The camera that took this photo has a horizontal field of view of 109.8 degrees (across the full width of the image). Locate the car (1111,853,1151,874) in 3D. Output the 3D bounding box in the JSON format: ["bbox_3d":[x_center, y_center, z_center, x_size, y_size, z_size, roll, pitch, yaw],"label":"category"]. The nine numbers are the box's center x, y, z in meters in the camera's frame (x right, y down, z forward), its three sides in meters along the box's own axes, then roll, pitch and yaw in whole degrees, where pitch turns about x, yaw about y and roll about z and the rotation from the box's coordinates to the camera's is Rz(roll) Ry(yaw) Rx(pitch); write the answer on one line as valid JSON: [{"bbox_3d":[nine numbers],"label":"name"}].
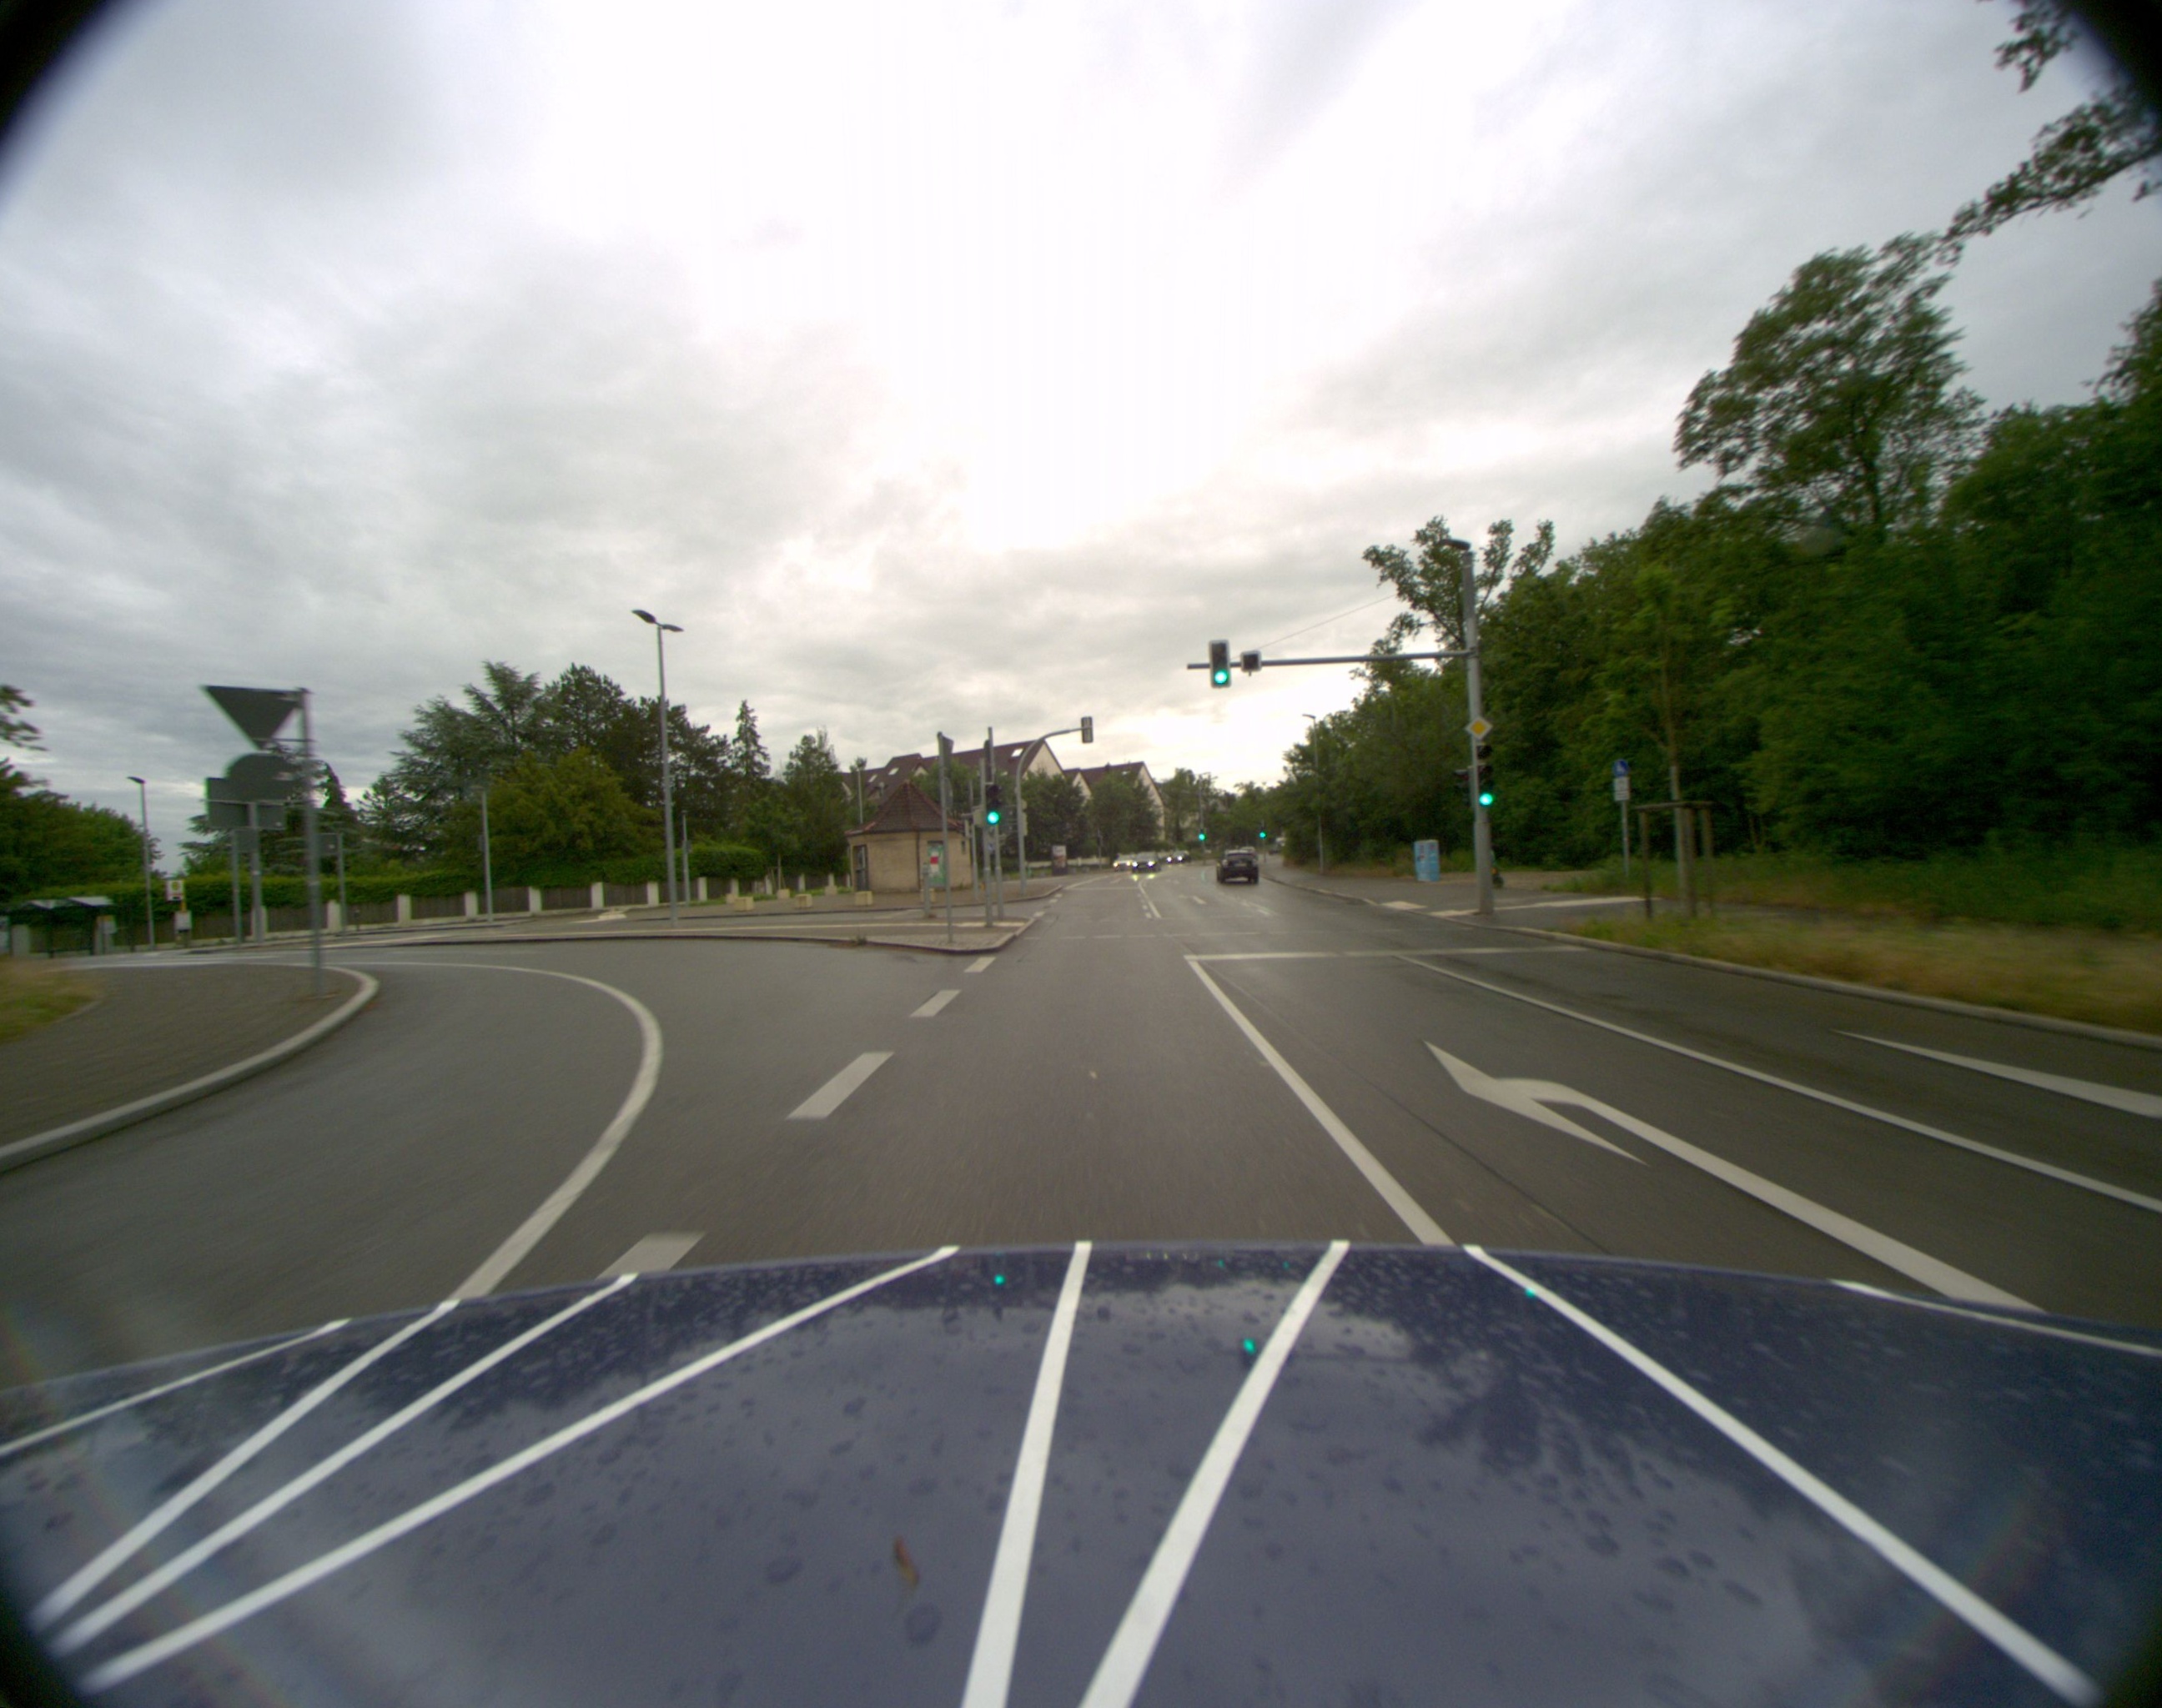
[{"bbox_3d":[4.305,0.783,64.274,1.942,1.594,4.610,-2,1,23],"label":"car"}]

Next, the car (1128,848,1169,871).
[{"bbox_3d":[5.034,0.371,56.154,1.942,1.446,4.609,-2,1,18],"label":"car"}]

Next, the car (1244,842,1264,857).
[{"bbox_3d":[17.111,-0.474,75.378,1.744,1.344,4.212,-2,0,10],"label":"car"}]

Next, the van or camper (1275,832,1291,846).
[{"bbox_3d":[38.344,-2.856,144.201,1.995,2.438,4.729,-3,1,25],"label":"van or camper"}]

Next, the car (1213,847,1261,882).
[{"bbox_3d":[7.640,0.490,37.582,1.793,1.572,4.563,-2,0,5],"label":"car"}]

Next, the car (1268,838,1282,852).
[{"bbox_3d":[24.936,-1.108,97.580,1.578,1.721,3.779,-2,1,17],"label":"car"}]

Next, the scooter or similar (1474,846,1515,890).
[{"bbox_3d":[11.966,0.391,22.043,0.518,1.205,1.470,-3,1,8],"label":"scooter or similar"}]

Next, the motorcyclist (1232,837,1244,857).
[{"bbox_3d":[13.001,-0.599,62.926,0.747,1.623,0.927,-2,1,4],"label":"motorcyclist"}]

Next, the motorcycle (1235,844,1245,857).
[{"bbox_3d":[13.115,-0.322,62.724,0.595,1.044,1.999,-2,0,5],"label":"motorcycle"}]

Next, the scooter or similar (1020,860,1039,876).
[{"bbox_3d":[-4.125,1.120,61.117,1.350,1.200,0.525,-6,1,17],"label":"scooter or similar"}]

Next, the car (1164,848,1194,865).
[{"bbox_3d":[10.432,0.276,80.590,1.942,1.594,4.610,-2,1,23],"label":"car"}]
